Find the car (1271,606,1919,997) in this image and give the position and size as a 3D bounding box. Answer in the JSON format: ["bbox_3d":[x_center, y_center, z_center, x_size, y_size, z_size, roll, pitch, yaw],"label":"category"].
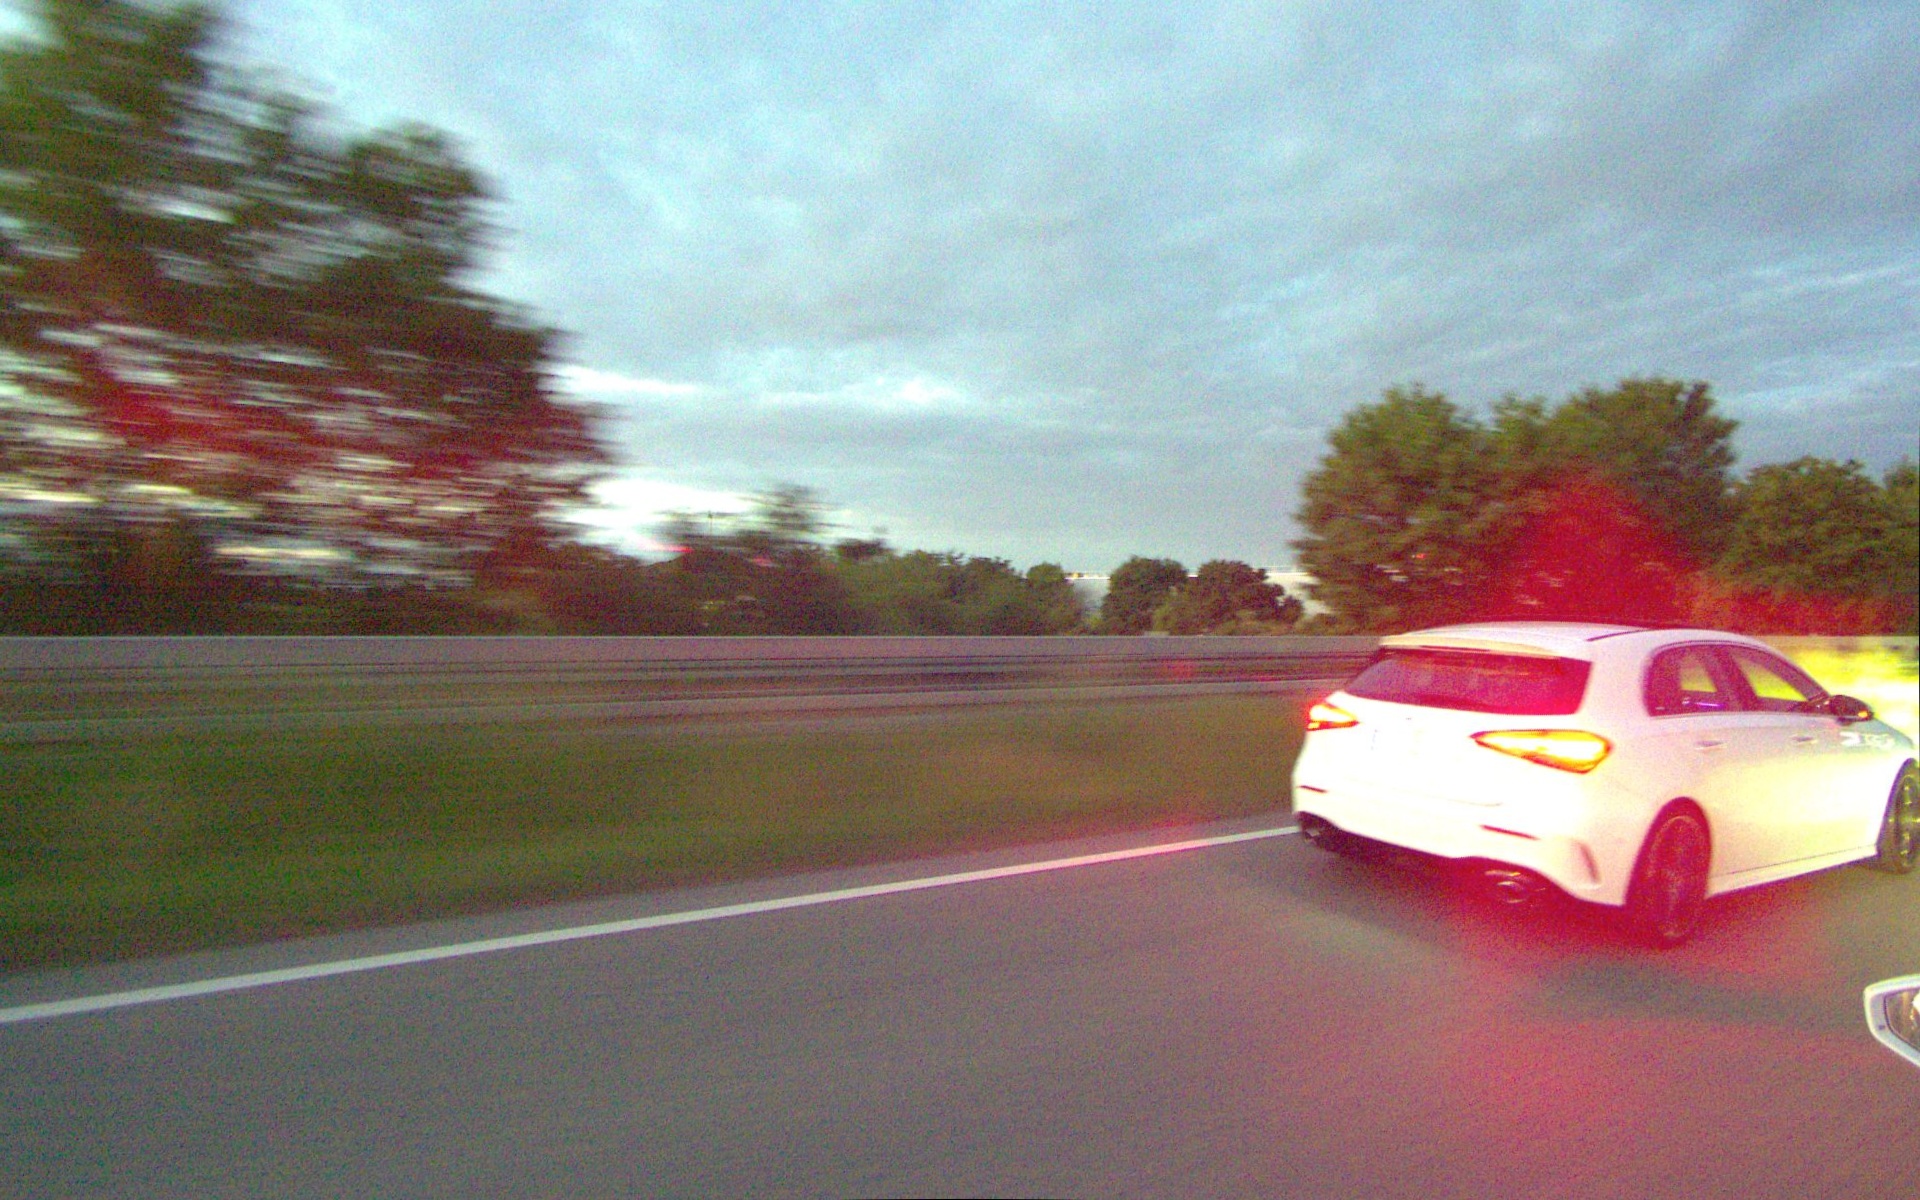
[{"bbox_3d":[4.020,0.850,5.816,4.527,1.510,1.633,2,0,-31],"label":"car"}]
